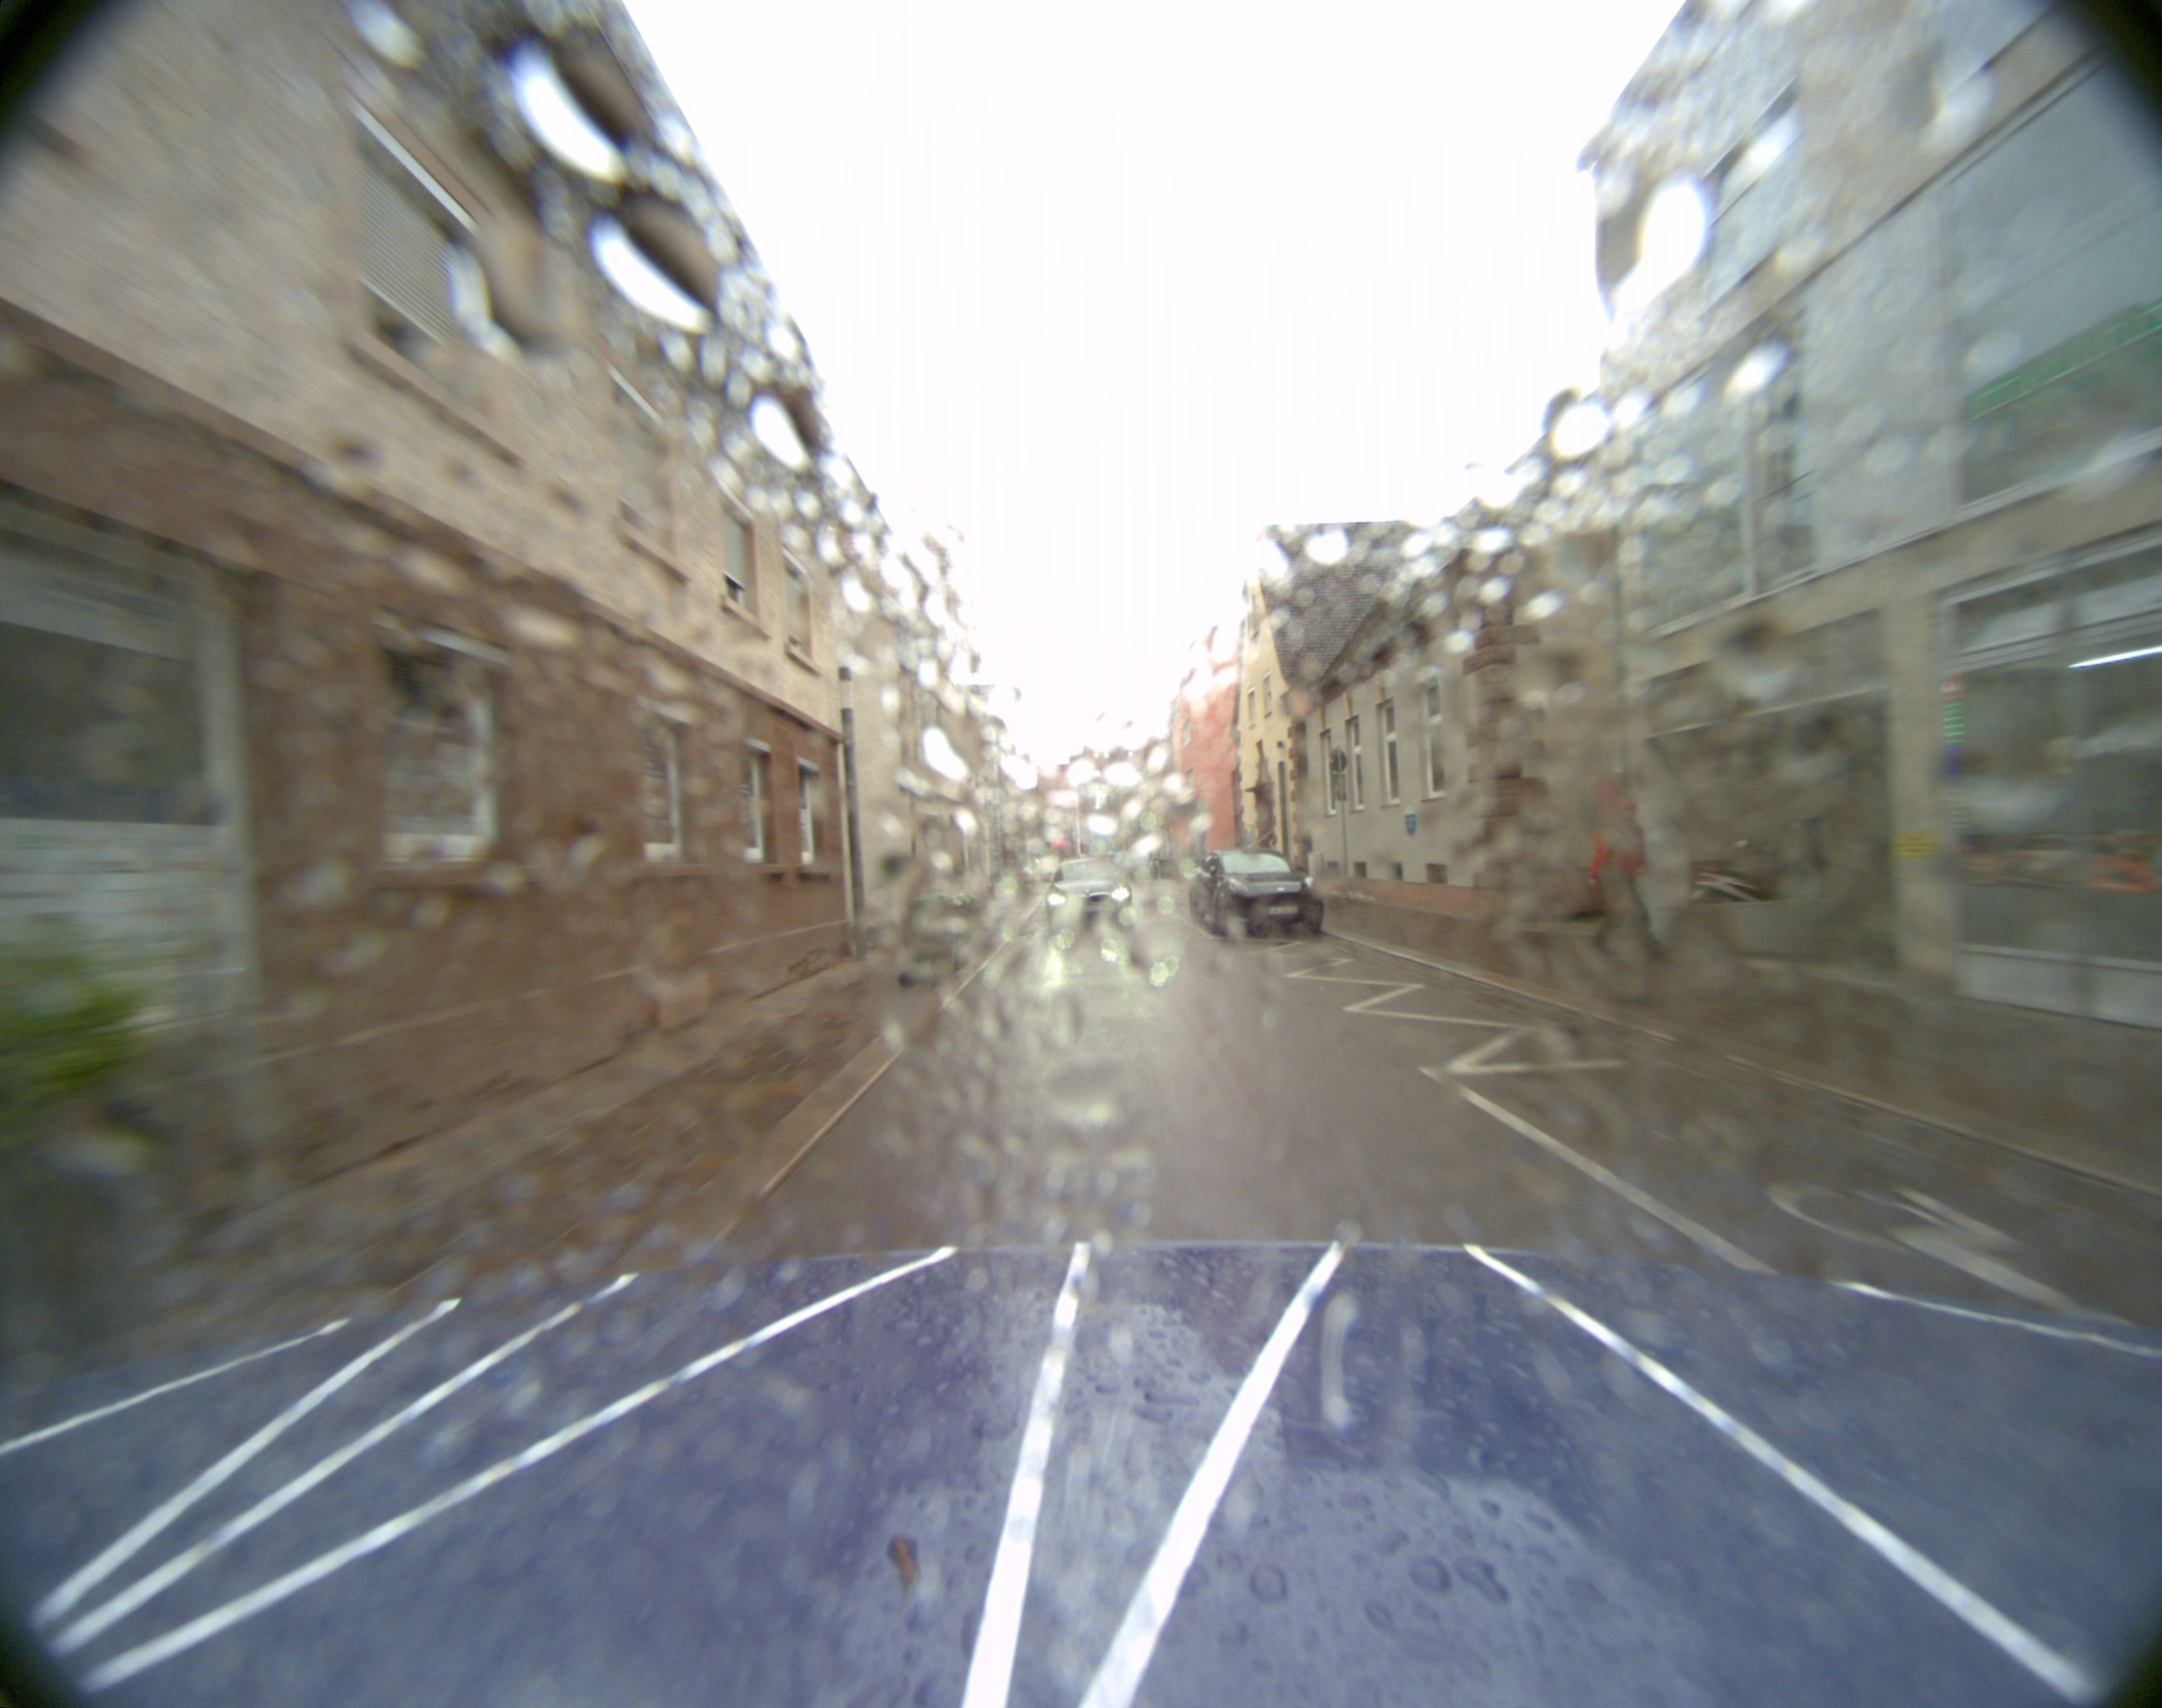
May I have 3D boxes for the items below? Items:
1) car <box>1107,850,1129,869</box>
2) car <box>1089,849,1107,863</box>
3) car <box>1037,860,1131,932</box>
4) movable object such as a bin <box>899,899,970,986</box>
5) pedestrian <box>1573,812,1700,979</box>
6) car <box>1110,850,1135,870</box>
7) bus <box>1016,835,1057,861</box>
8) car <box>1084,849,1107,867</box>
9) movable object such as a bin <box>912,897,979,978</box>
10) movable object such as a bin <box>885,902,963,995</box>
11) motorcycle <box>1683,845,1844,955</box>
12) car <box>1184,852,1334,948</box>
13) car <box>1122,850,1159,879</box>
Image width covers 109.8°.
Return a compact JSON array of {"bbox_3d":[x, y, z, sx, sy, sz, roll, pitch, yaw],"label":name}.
[{"bbox_3d":[2.991,0.436,61.874,1.632,1.359,3.489,-3,0,0],"label":"car"},{"bbox_3d":[1.716,0.208,77.488,1.632,1.359,3.489,-3,0,0],"label":"car"},{"bbox_3d":[0.156,0.907,18.377,1.947,1.394,4.420,-2,1,2],"label":"car"},{"bbox_3d":[-1.894,1.137,9.906,0.734,1.016,0.638,-3,0,2],"label":"movable object such as a bin"},{"bbox_3d":[6.268,0.447,8.592,0.552,1.766,1.006,-5,2,-42],"label":"pedestrian"},{"bbox_3d":[3.071,0.455,57.079,1.632,1.359,3.489,-3,0,0],"label":"car"},{"bbox_3d":[-5.871,-0.788,99.493,2.616,3.175,7.360,-3,1,-26],"label":"bus"},{"bbox_3d":[1.339,0.346,72.671,1.999,1.587,3.999,-2,1,-1],"label":"car"},{"bbox_3d":[-1.869,1.140,10.548,0.734,1.016,0.638,-3,0,2],"label":"movable object such as a bin"},{"bbox_3d":[-1.896,1.129,9.245,0.734,1.016,0.638,-3,0,2],"label":"movable object such as a bin"},{"bbox_3d":[8.513,0.557,9.506,1.510,1.283,0.536,-2,1,0],"label":"motorcycle"},{"bbox_3d":[3.223,0.757,14.554,1.740,1.516,3.929,-2,1,-3],"label":"car"},{"bbox_3d":[3.074,0.533,39.986,1.632,1.359,3.489,-3,0,0],"label":"car"}]
